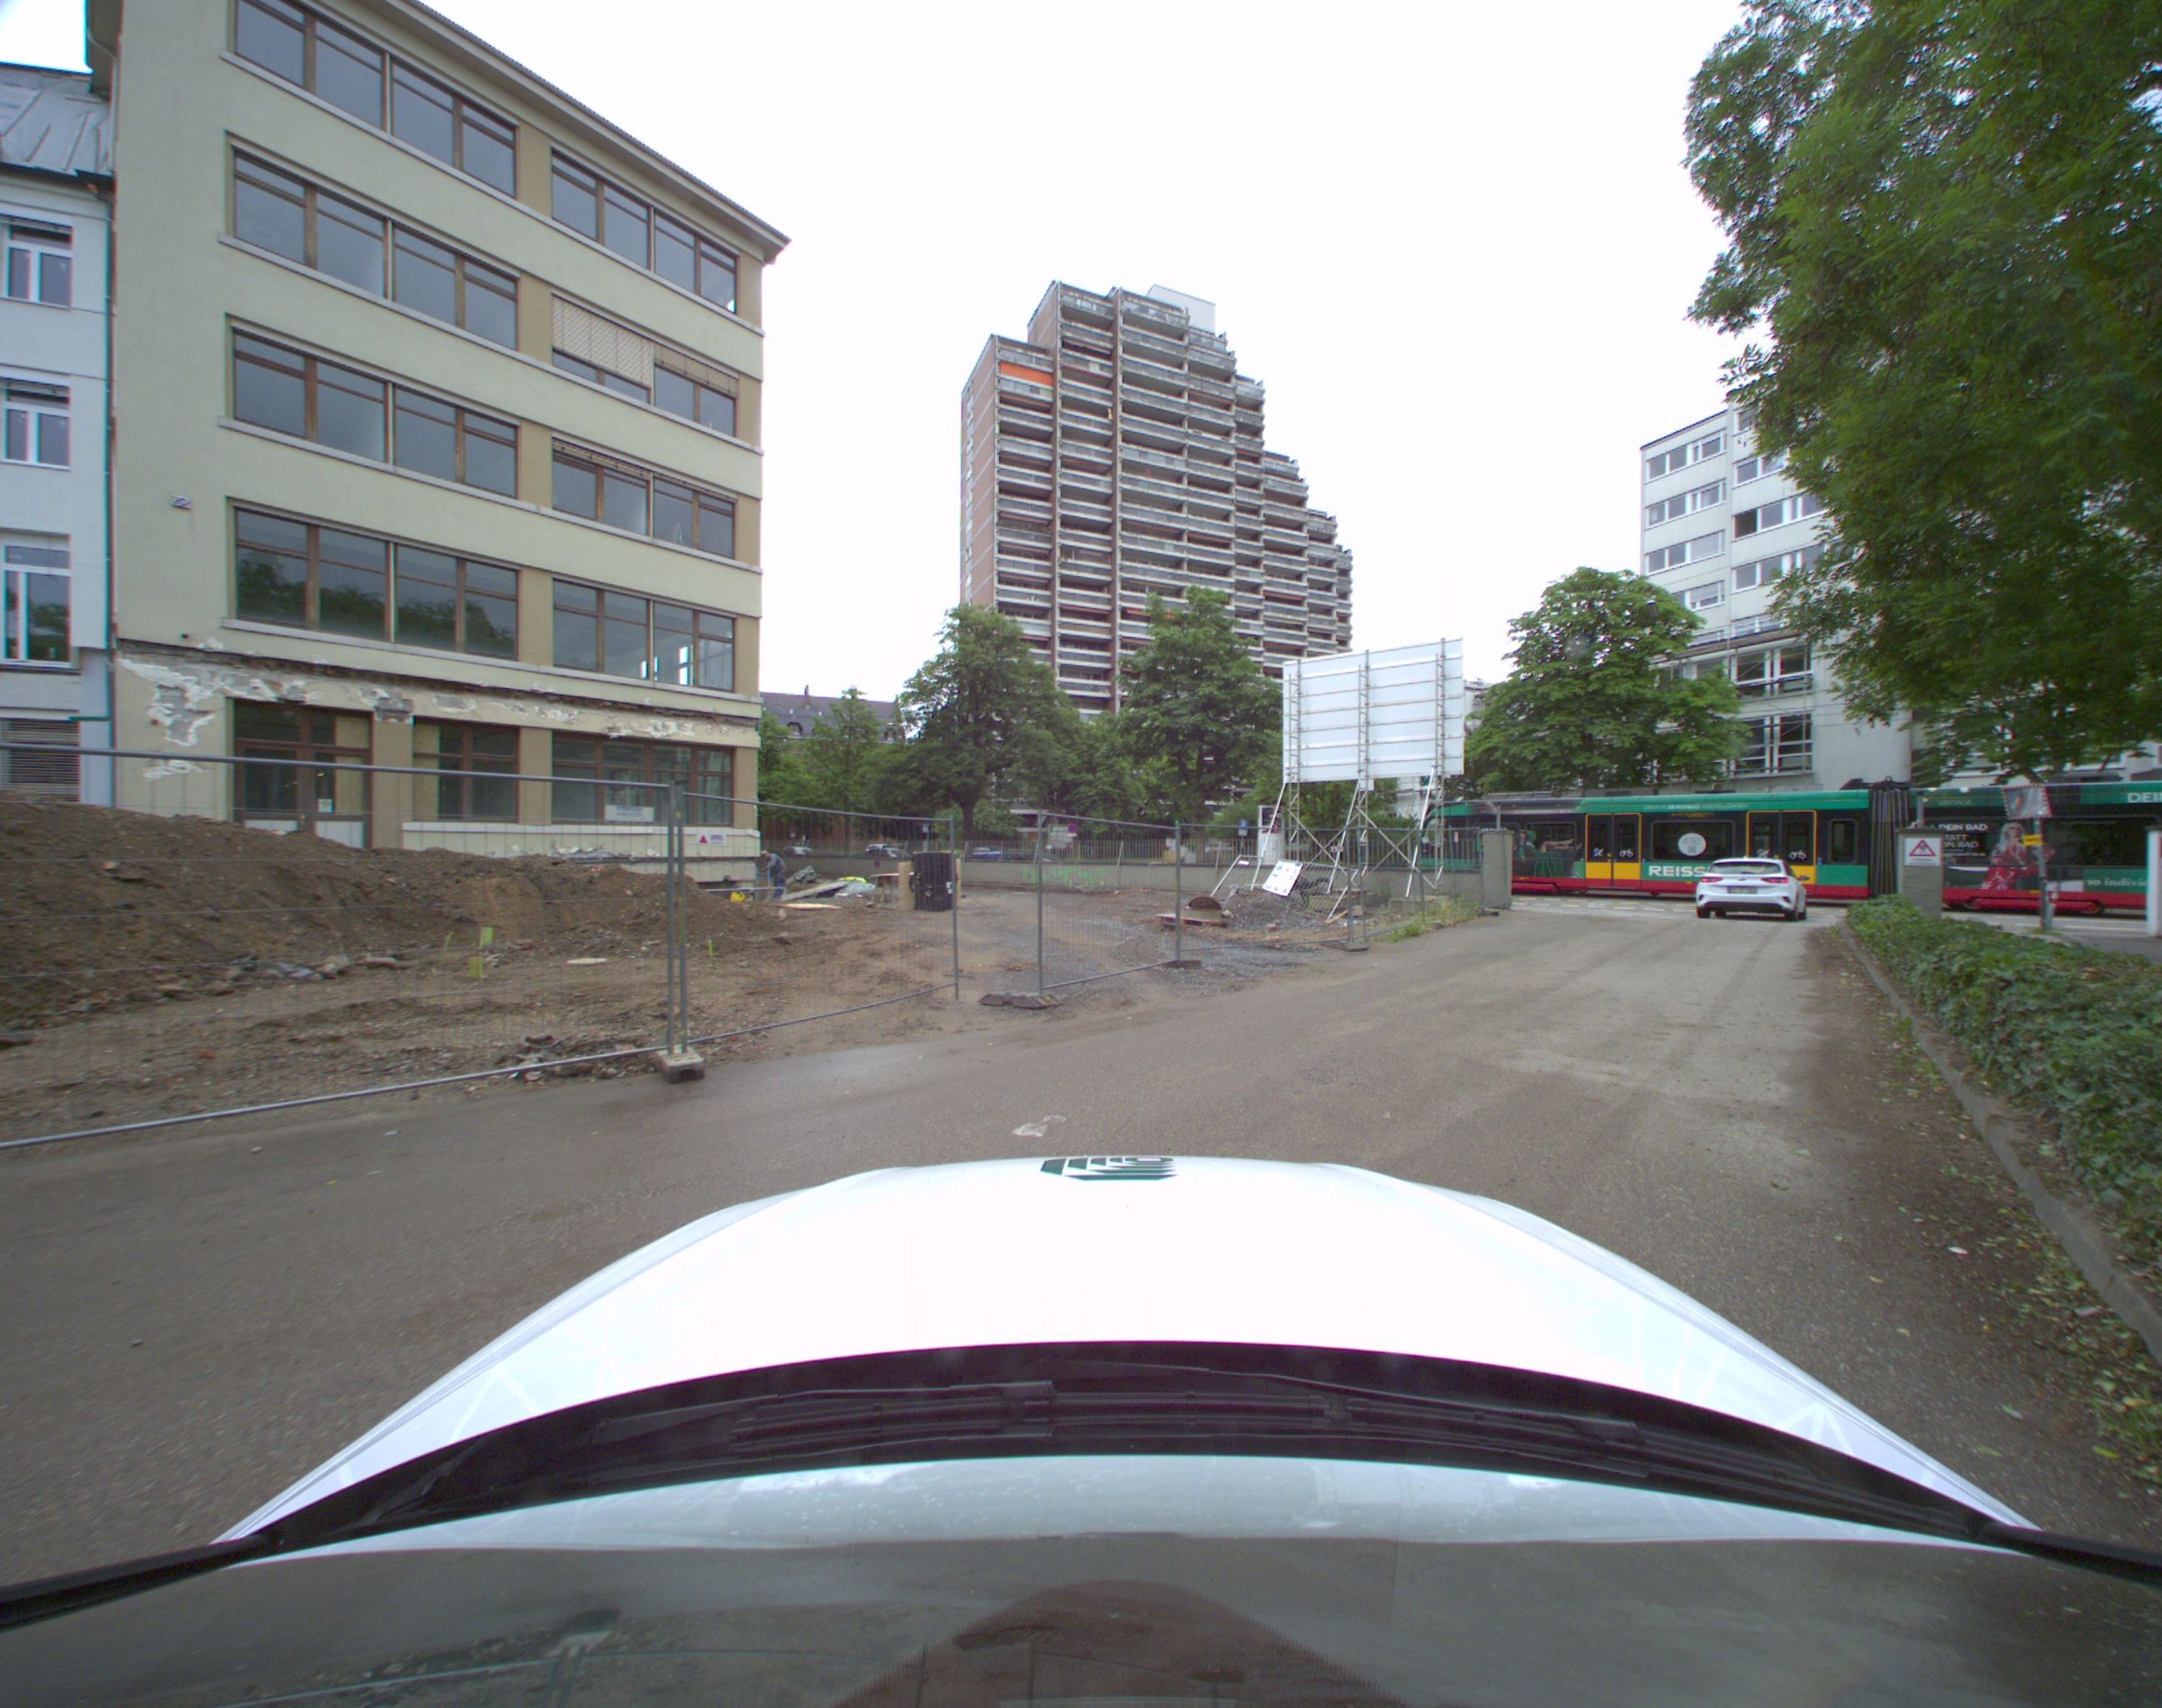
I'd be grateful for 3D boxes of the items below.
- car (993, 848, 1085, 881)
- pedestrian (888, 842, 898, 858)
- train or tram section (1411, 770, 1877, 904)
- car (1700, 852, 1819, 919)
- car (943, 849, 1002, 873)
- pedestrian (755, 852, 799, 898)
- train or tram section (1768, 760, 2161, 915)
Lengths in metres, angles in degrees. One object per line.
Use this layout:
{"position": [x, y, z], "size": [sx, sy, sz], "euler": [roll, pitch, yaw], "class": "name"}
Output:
{"position": [-1.919, 0.428, 36.603], "size": [3.949, 1.418, 1.845], "euler": [0, 0, 40], "class": "car"}
{"position": [-17.113, -0.364, 74.149], "size": [0.516, 1.527, 0.849], "euler": [1, 0, 29], "class": "pedestrian"}
{"position": [17.699, -0.472, 27.007], "size": [12.299, 3.614, 2.685], "euler": [0, 0, 41], "class": "train or tram section"}
{"position": [16.192, 0.743, 19.365], "size": [4.001, 1.433, 1.759], "euler": [3, -2, -44], "class": "car"}
{"position": [-7.126, 0.459, 53.450], "size": [3.949, 1.519, 1.613], "euler": [0, 0, 41], "class": "car"}
{"position": [-9.736, 0.668, 26.069], "size": [0.919, 1.437, 0.989], "euler": [0, 0, 37], "class": "pedestrian"}
{"position": [25.341, -0.393, 20.479], "size": [12.299, 3.614, 2.685], "euler": [0, 0, 41], "class": "train or tram section"}
